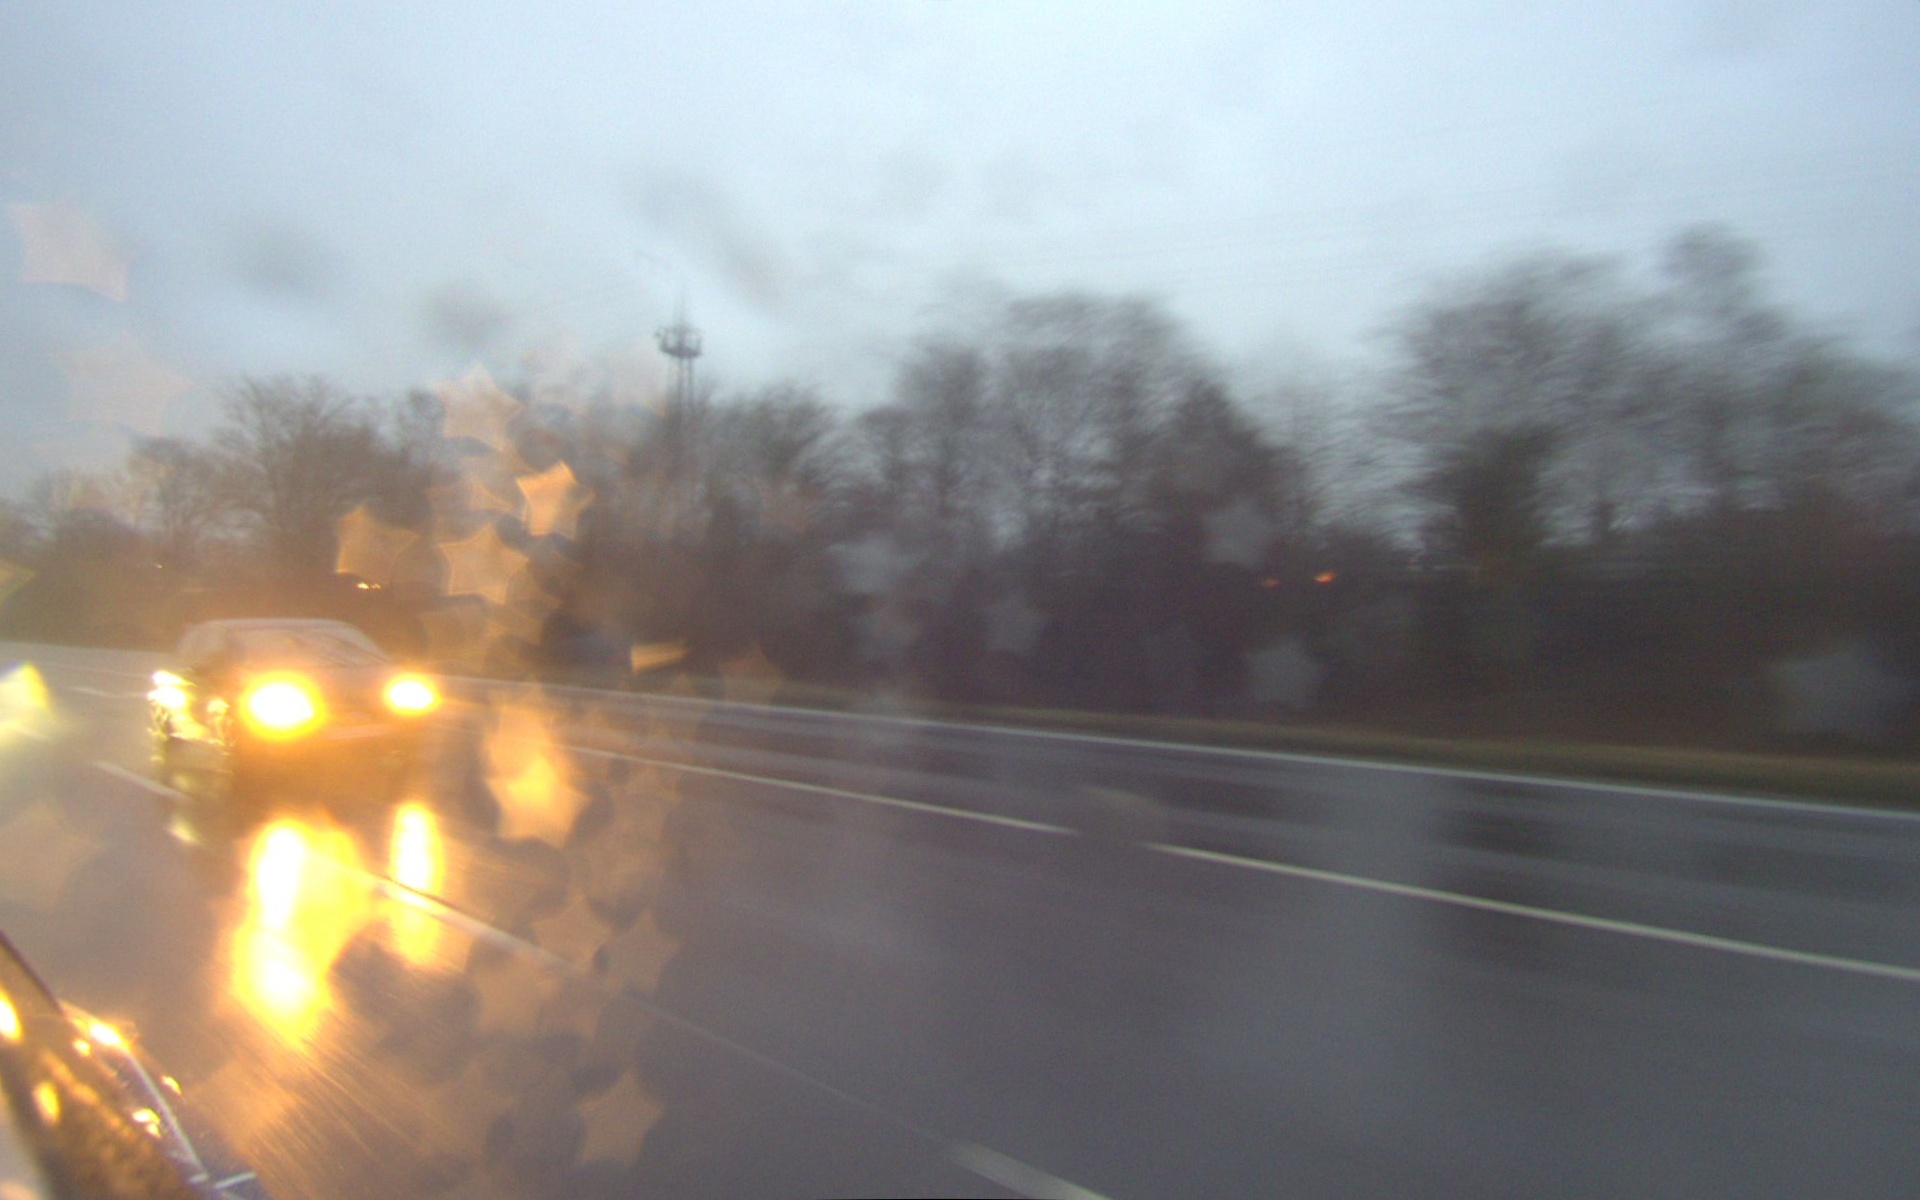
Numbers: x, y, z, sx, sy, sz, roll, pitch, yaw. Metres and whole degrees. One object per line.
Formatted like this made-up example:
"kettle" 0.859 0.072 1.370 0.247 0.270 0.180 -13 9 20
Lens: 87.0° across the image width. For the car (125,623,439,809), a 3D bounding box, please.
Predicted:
"car" -7.018 0.996 10.302 4.169 1.431 1.615 -1 1 41
